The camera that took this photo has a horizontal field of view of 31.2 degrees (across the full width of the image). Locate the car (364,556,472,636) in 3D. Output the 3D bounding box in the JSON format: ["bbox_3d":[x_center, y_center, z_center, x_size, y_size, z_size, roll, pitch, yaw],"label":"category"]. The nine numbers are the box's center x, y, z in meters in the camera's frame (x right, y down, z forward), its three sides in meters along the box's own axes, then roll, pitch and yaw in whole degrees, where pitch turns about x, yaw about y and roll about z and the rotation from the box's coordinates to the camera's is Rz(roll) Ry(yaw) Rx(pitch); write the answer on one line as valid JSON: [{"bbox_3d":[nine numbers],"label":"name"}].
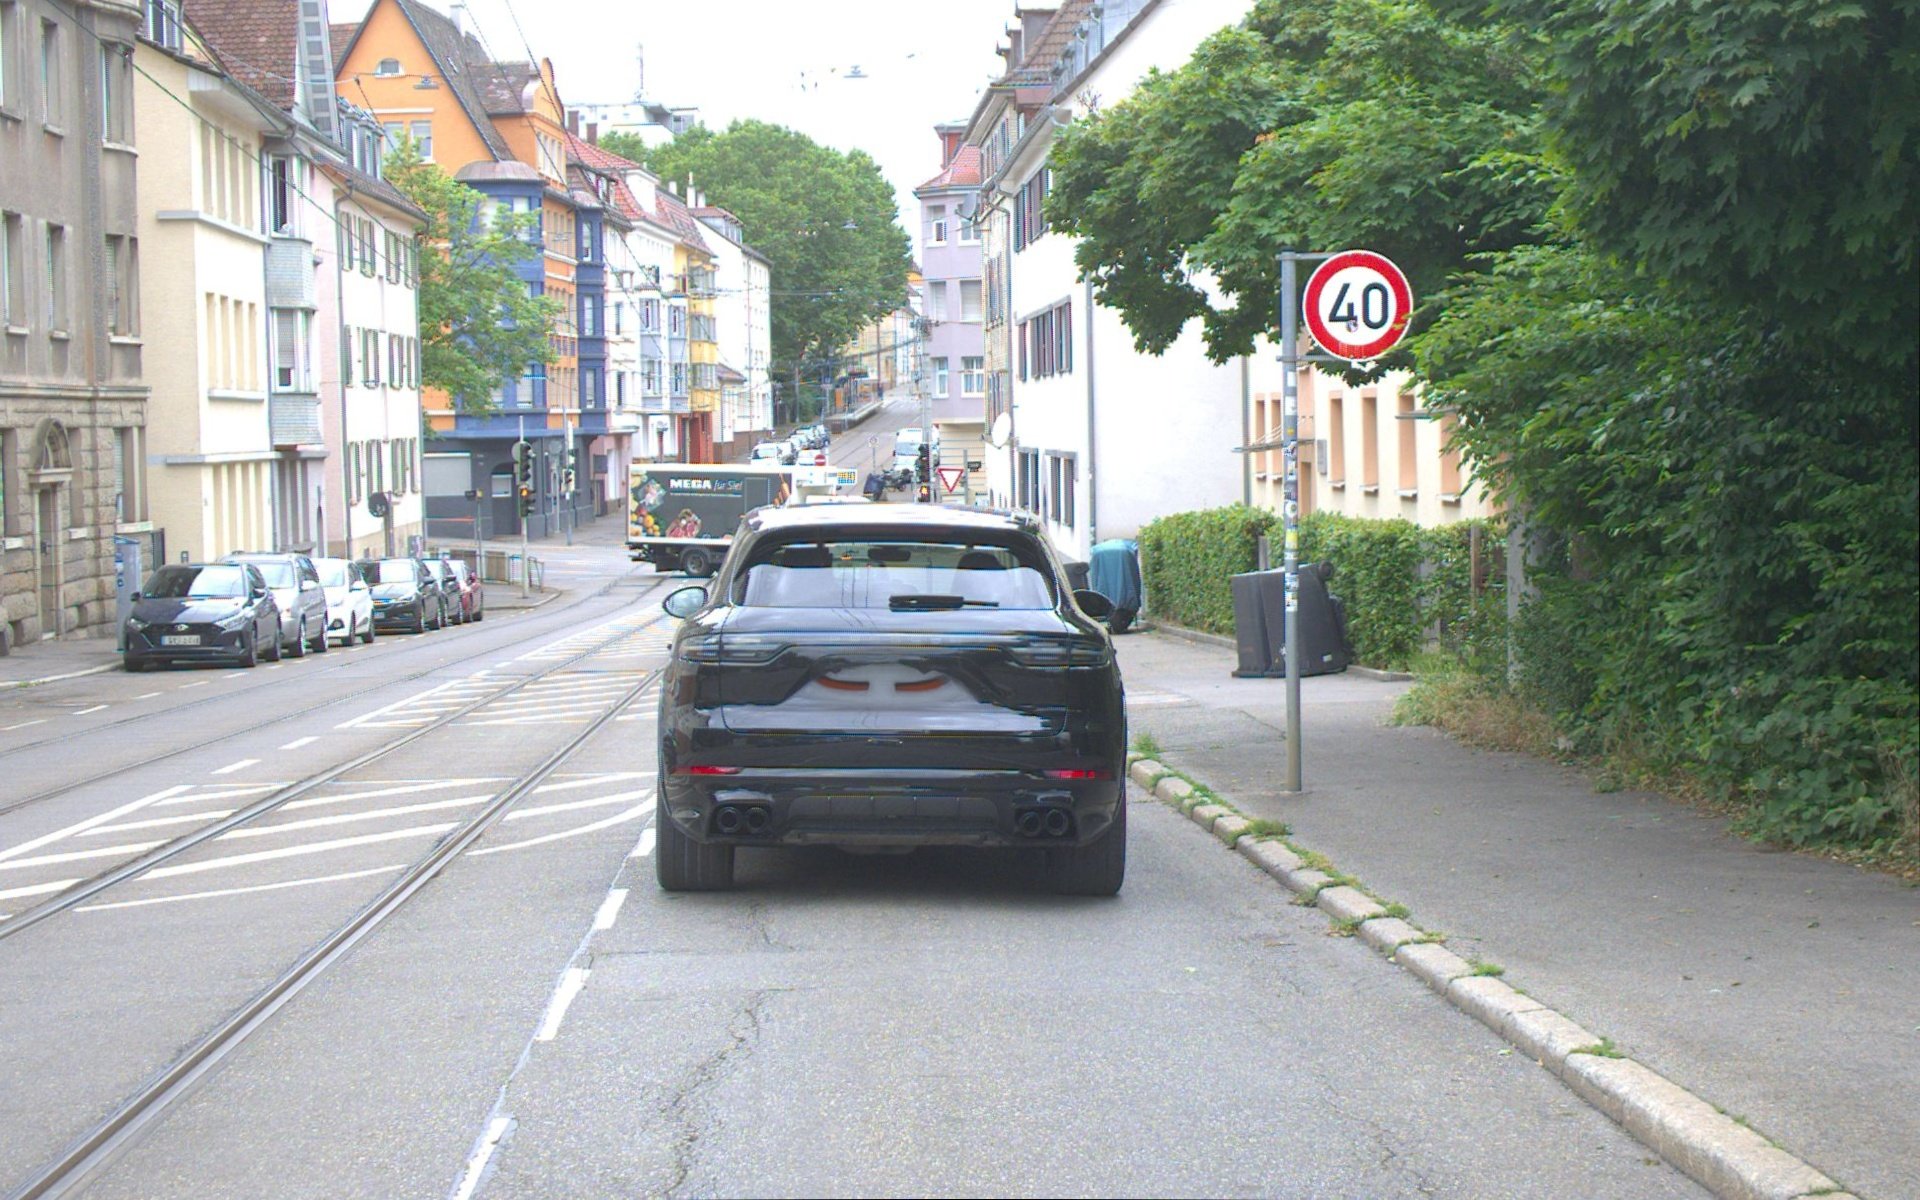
[{"bbox_3d":[-10.571,-0.077,67.287,1.620,1.468,4.556,-2,0,-4],"label":"car"}]

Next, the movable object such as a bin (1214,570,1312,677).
[{"bbox_3d":[2.907,0.216,33.040,0.792,1.008,0.789,-1,0,-6],"label":"movable object such as a bin"}]

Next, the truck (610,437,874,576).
[{"bbox_3d":[-7.077,-2.956,111.051,8.577,4.167,2.256,-1,-2,27],"label":"truck"}]

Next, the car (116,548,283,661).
[{"bbox_3d":[-10.535,0.059,47.840,1.620,1.458,4.033,-2,0,-4],"label":"car"}]

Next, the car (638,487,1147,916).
[{"bbox_3d":[-0.355,0.378,15.608,1.993,1.670,4.000,-1,1,-3],"label":"car"}]

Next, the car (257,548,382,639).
[{"bbox_3d":[-10.906,-0.109,58.715,1.620,1.458,3.685,-2,0,-4],"label":"car"}]

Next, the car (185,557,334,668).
[{"bbox_3d":[-10.685,0.185,52.669,1.620,1.599,4.351,-2,0,-4],"label":"car"}]

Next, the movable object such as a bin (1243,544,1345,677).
[{"bbox_3d":[3.122,0.093,32.210,0.792,1.214,0.789,-1,0,-6],"label":"movable object such as a bin"}]

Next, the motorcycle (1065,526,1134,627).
[{"bbox_3d":[2.068,-0.353,51.152,0.838,1.451,2.553,-1,1,-1],"label":"motorcycle"}]

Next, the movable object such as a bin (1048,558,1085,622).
[{"bbox_3d":[1.790,-0.172,57.792,0.588,1.076,0.692,-1,0,0],"label":"movable object such as a bin"}]
